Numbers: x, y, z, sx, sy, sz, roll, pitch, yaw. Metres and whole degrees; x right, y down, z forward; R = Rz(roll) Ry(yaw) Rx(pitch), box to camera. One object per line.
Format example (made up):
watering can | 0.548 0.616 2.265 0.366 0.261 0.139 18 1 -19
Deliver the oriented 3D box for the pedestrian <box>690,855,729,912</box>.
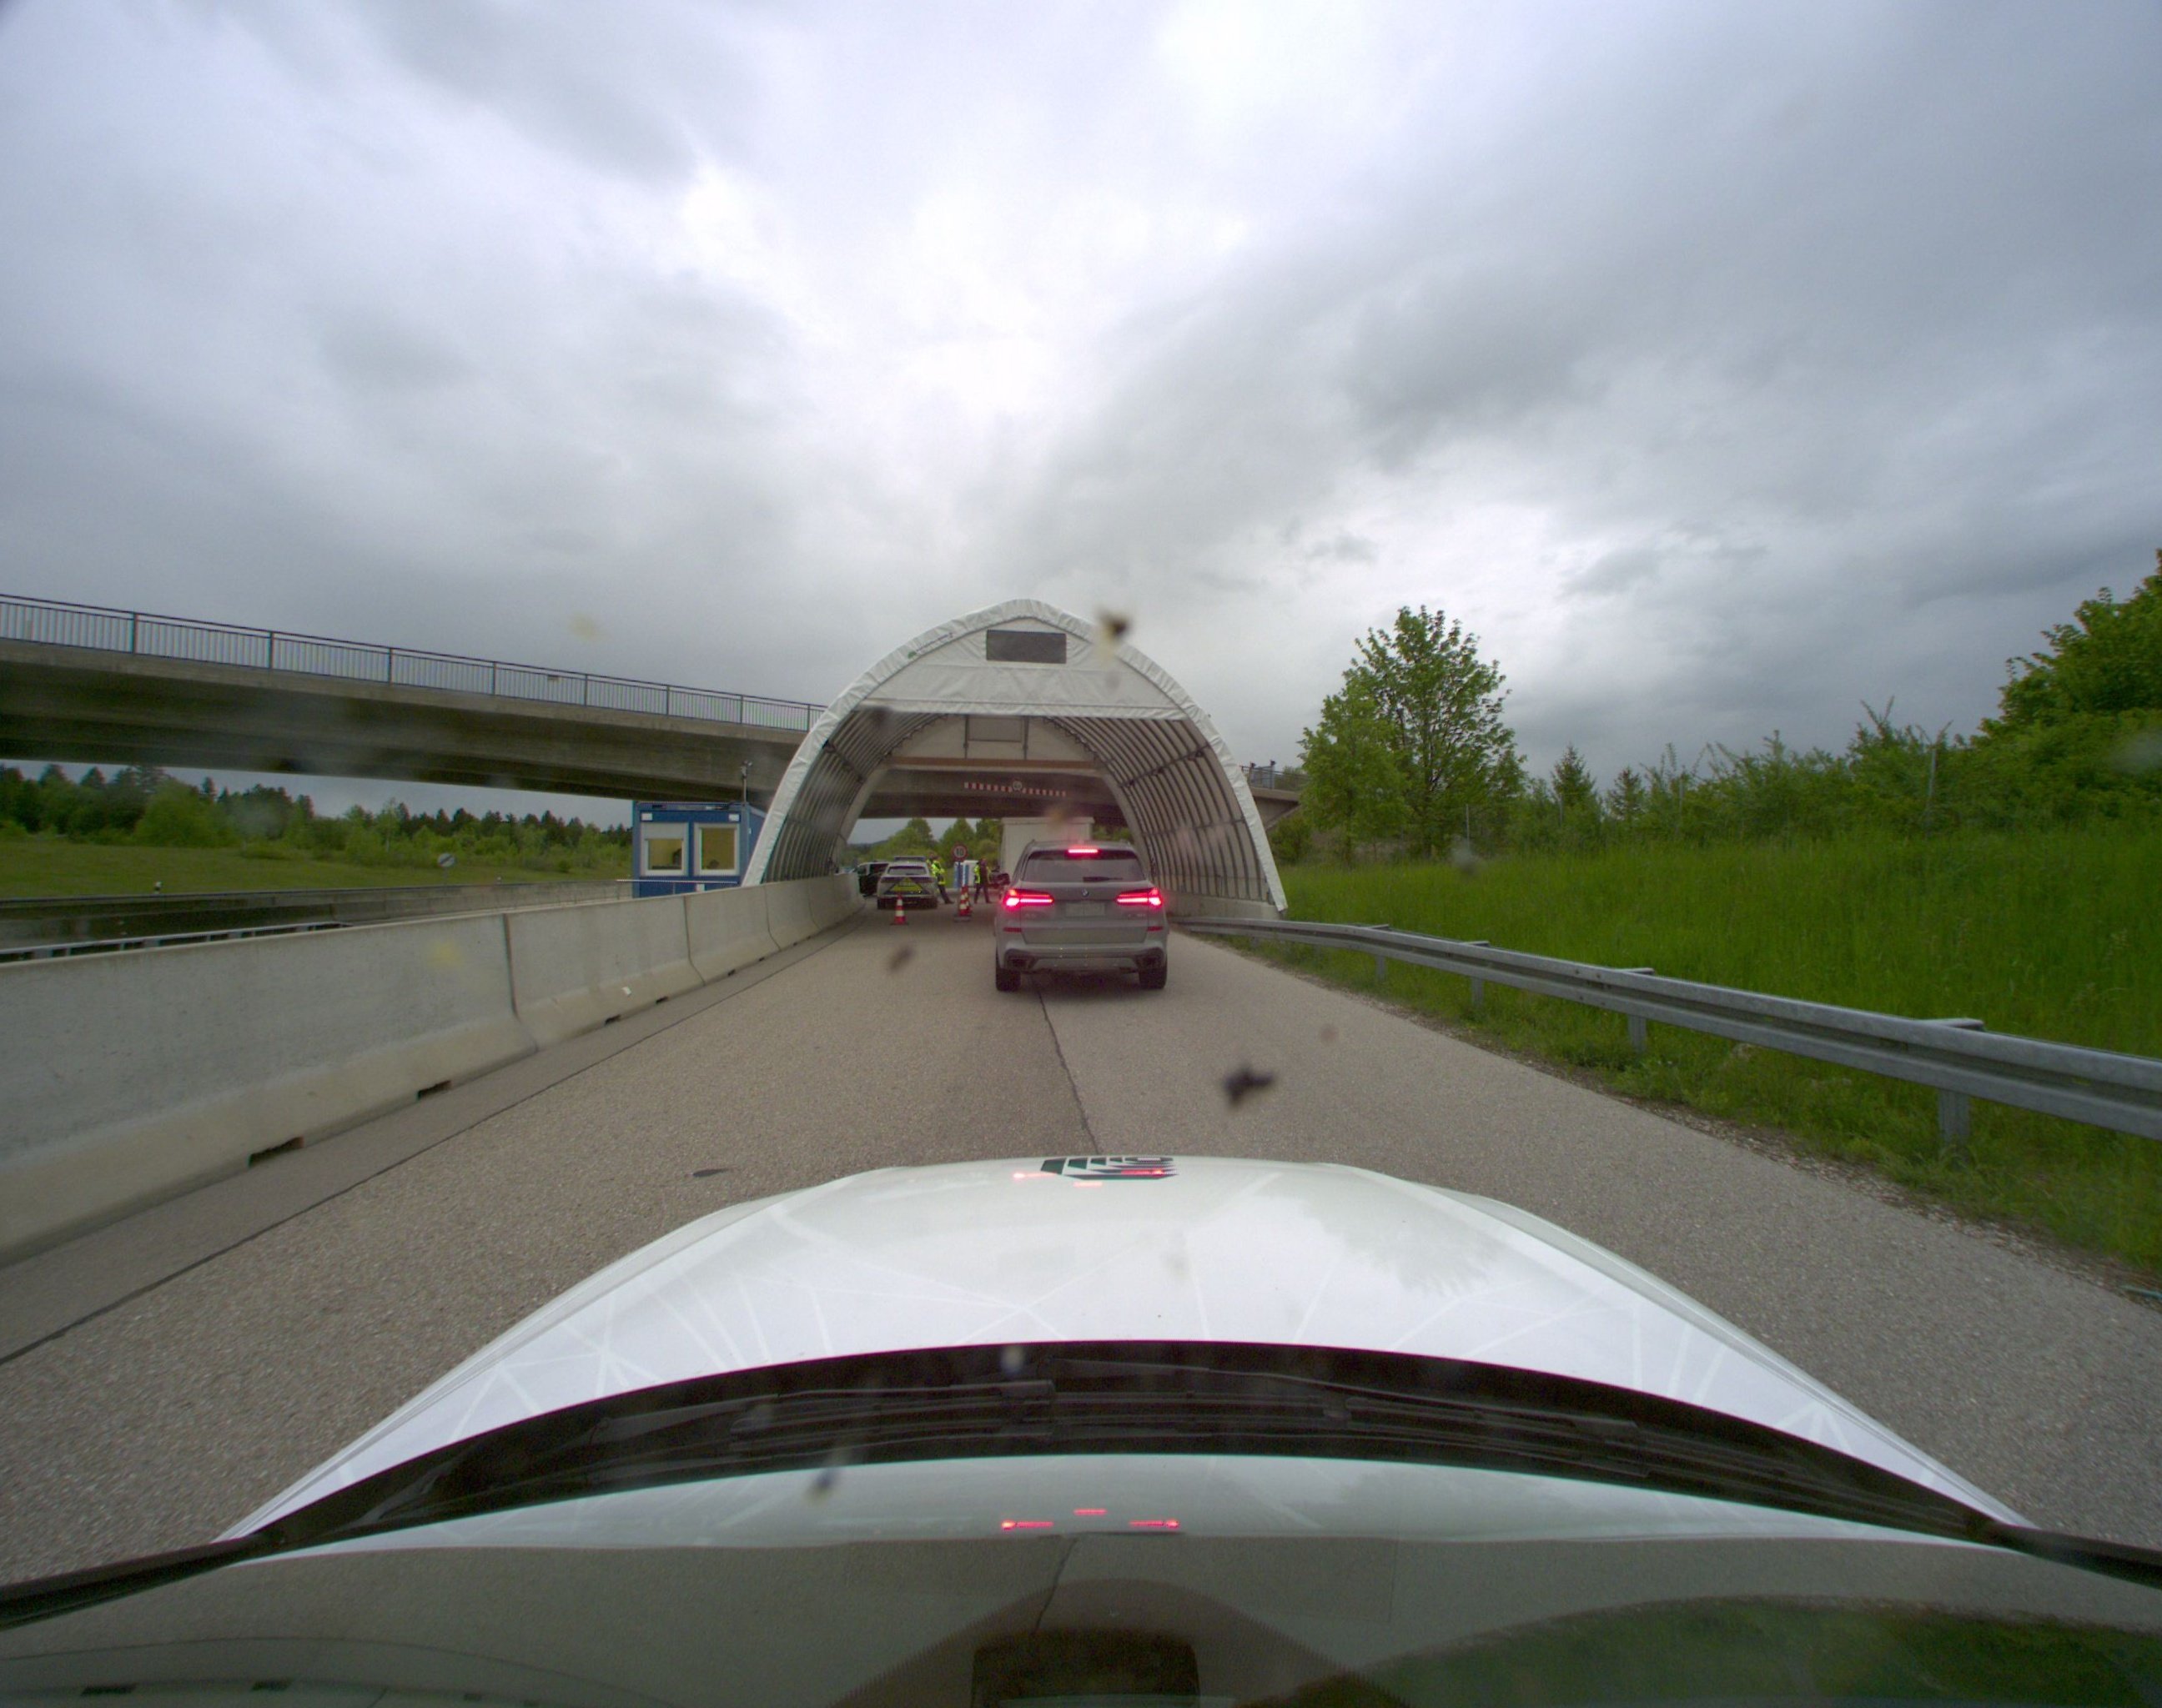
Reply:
pedestrian | -9.257 0.733 20.296 0.606 1.373 0.629 -2 -1 10

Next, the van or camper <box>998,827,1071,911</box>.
van or camper | -1.700 0.493 27.658 2.102 2.519 5.537 -1 -1 -7

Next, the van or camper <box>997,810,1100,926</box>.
van or camper | -1.066 0.354 21.564 2.227 2.552 6.595 -1 -1 -6

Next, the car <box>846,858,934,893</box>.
car | -11.558 1.292 49.350 4.777 2.014 1.845 -1 -1 9

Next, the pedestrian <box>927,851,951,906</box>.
pedestrian | -5.091 0.869 29.189 0.750 1.919 0.759 -1 -1 -13

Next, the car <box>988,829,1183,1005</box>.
car | -0.164 0.666 10.465 1.992 1.765 3.990 -1 -1 -7

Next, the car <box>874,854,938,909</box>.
car | -5.788 0.873 27.019 1.879 1.647 3.983 -1 -1 -12

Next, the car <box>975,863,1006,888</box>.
car | -6.635 1.542 59.486 1.994 1.722 3.882 -1 -1 -11

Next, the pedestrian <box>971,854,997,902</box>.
pedestrian | -3.548 0.865 29.622 0.782 1.722 0.752 -1 -1 -18

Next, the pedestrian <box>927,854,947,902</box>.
pedestrian | -5.335 0.879 30.230 0.607 1.754 0.665 -1 -1 -4
